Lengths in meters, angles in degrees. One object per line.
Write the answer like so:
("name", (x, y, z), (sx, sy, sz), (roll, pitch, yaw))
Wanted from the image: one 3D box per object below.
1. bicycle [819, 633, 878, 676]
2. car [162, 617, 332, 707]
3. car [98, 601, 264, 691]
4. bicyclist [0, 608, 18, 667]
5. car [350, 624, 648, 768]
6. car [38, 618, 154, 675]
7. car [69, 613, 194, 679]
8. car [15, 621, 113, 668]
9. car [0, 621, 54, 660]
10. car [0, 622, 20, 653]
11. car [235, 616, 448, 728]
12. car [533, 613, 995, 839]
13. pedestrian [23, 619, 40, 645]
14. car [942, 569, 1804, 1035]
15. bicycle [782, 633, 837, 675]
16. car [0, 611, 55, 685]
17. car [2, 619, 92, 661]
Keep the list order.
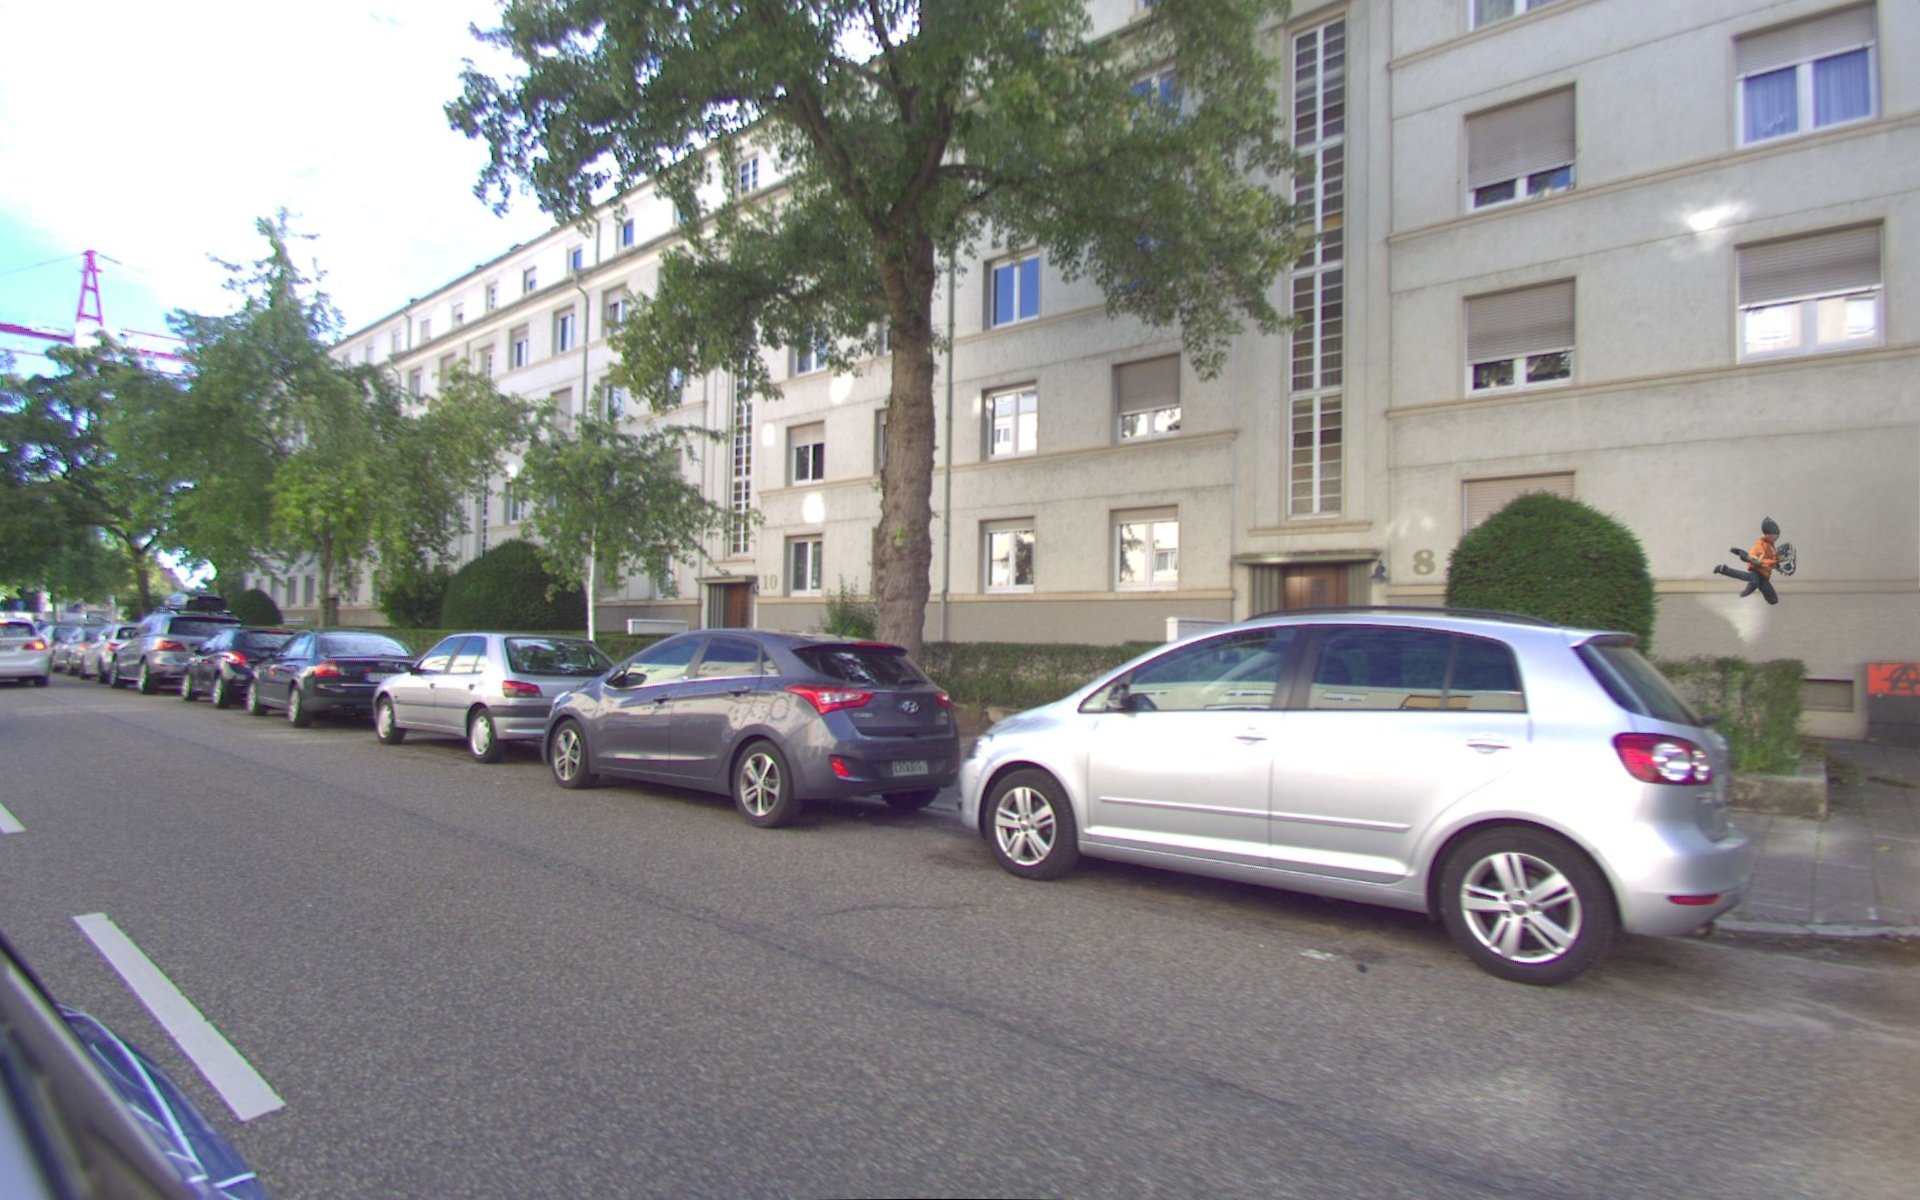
("bicycle", (-2.819, 1.356, 25.516), (1.576, 1.057, 0.563), (-1, -2, 41))
("car", (-13.522, 1.144, 19.106), (4.118, 1.492, 1.667), (-1, -6, 42))
("car", (-17.489, 1.028, 22.629), (4.967, 1.807, 1.858), (-1, -5, 40))
("bicyclist", (-26.908, 1.048, 28.357), (0.990, 1.613, 0.634), (-1, -2, 42))
("car", (-5.567, 1.062, 12.025), (3.961, 1.429, 1.584), (-1, -6, 40))
("car", (-25.610, 1.353, 29.952), (4.942, 1.497, 1.836), (-1, -6, 41))
("car", (-21.807, 1.195, 26.580), (4.459, 1.585, 1.835), (-1, -4, 42))
("car", (-29.734, 1.473, 33.532), (4.663, 1.404, 1.720), (-1, -5, 41))
("car", (-40.115, 1.702, 42.959), (4.796, 1.497, 1.836), (-1, -6, 41))
("car", (-48.145, 1.823, 50.149), (4.367, 1.497, 1.801), (-1, -5, 42))
("car", (-9.640, 1.072, 15.620), (4.453, 1.492, 1.666), (-1, -6, 44))
("car", (-1.794, 0.924, 8.563), (4.009, 1.479, 1.598), (-1, -6, 39))
("pedestrian", (-65.421, 2.257, 71.295), (0.775, 1.781, 0.734), (-1, -2, 40))
("car", (1.987, 0.800, 5.534), (3.991, 1.632, 1.721), (-1, -5, 40))
("bicycle", (-3.963, 1.393, 26.581), (1.540, 1.064, 0.536), (-1, -2, 41))
("car", (-21.592, 1.045, 22.449), (4.010, 1.540, 1.839), (-2, -3, 42))
("car", (-34.637, 1.518, 38.362), (4.680, 1.497, 1.836), (-1, -4, 40))
